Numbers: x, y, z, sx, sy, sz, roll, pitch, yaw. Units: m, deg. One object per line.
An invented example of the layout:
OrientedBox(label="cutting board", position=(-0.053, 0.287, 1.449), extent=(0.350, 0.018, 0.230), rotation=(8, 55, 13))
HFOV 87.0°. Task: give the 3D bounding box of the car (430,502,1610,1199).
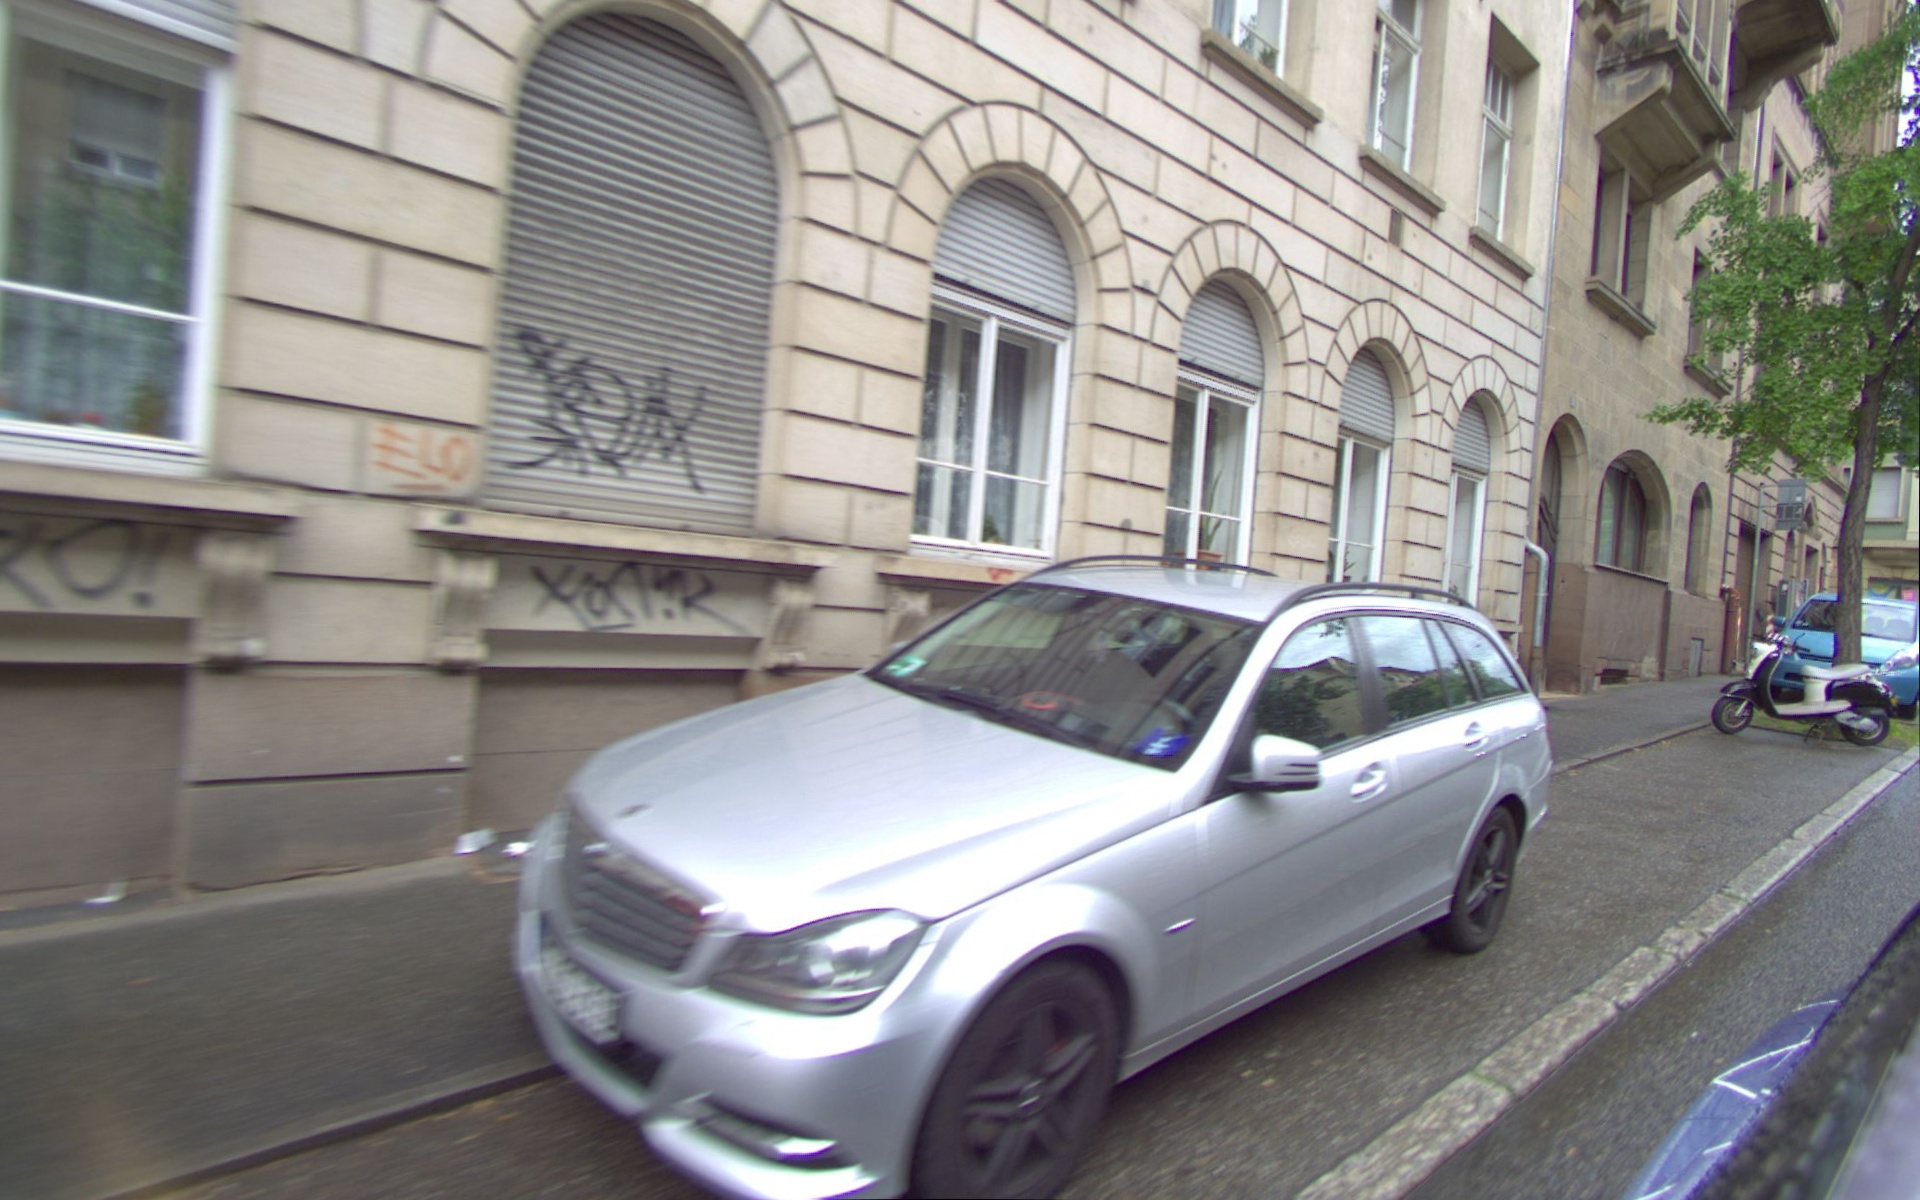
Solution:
OrientedBox(label="car", position=(0.677, 0.537, 3.713), extent=(4.346, 1.448, 1.699), rotation=(0, 5, -42))

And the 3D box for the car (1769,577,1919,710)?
OrientedBox(label="car", position=(12.950, 0.535, 14.311), extent=(3.601, 1.561, 1.660), rotation=(0, 4, -41))

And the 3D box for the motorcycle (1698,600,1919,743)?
OrientedBox(label="motorcycle", position=(8.840, 0.705, 10.334), extent=(1.910, 1.250, 0.655), rotation=(5, 2, 14))
